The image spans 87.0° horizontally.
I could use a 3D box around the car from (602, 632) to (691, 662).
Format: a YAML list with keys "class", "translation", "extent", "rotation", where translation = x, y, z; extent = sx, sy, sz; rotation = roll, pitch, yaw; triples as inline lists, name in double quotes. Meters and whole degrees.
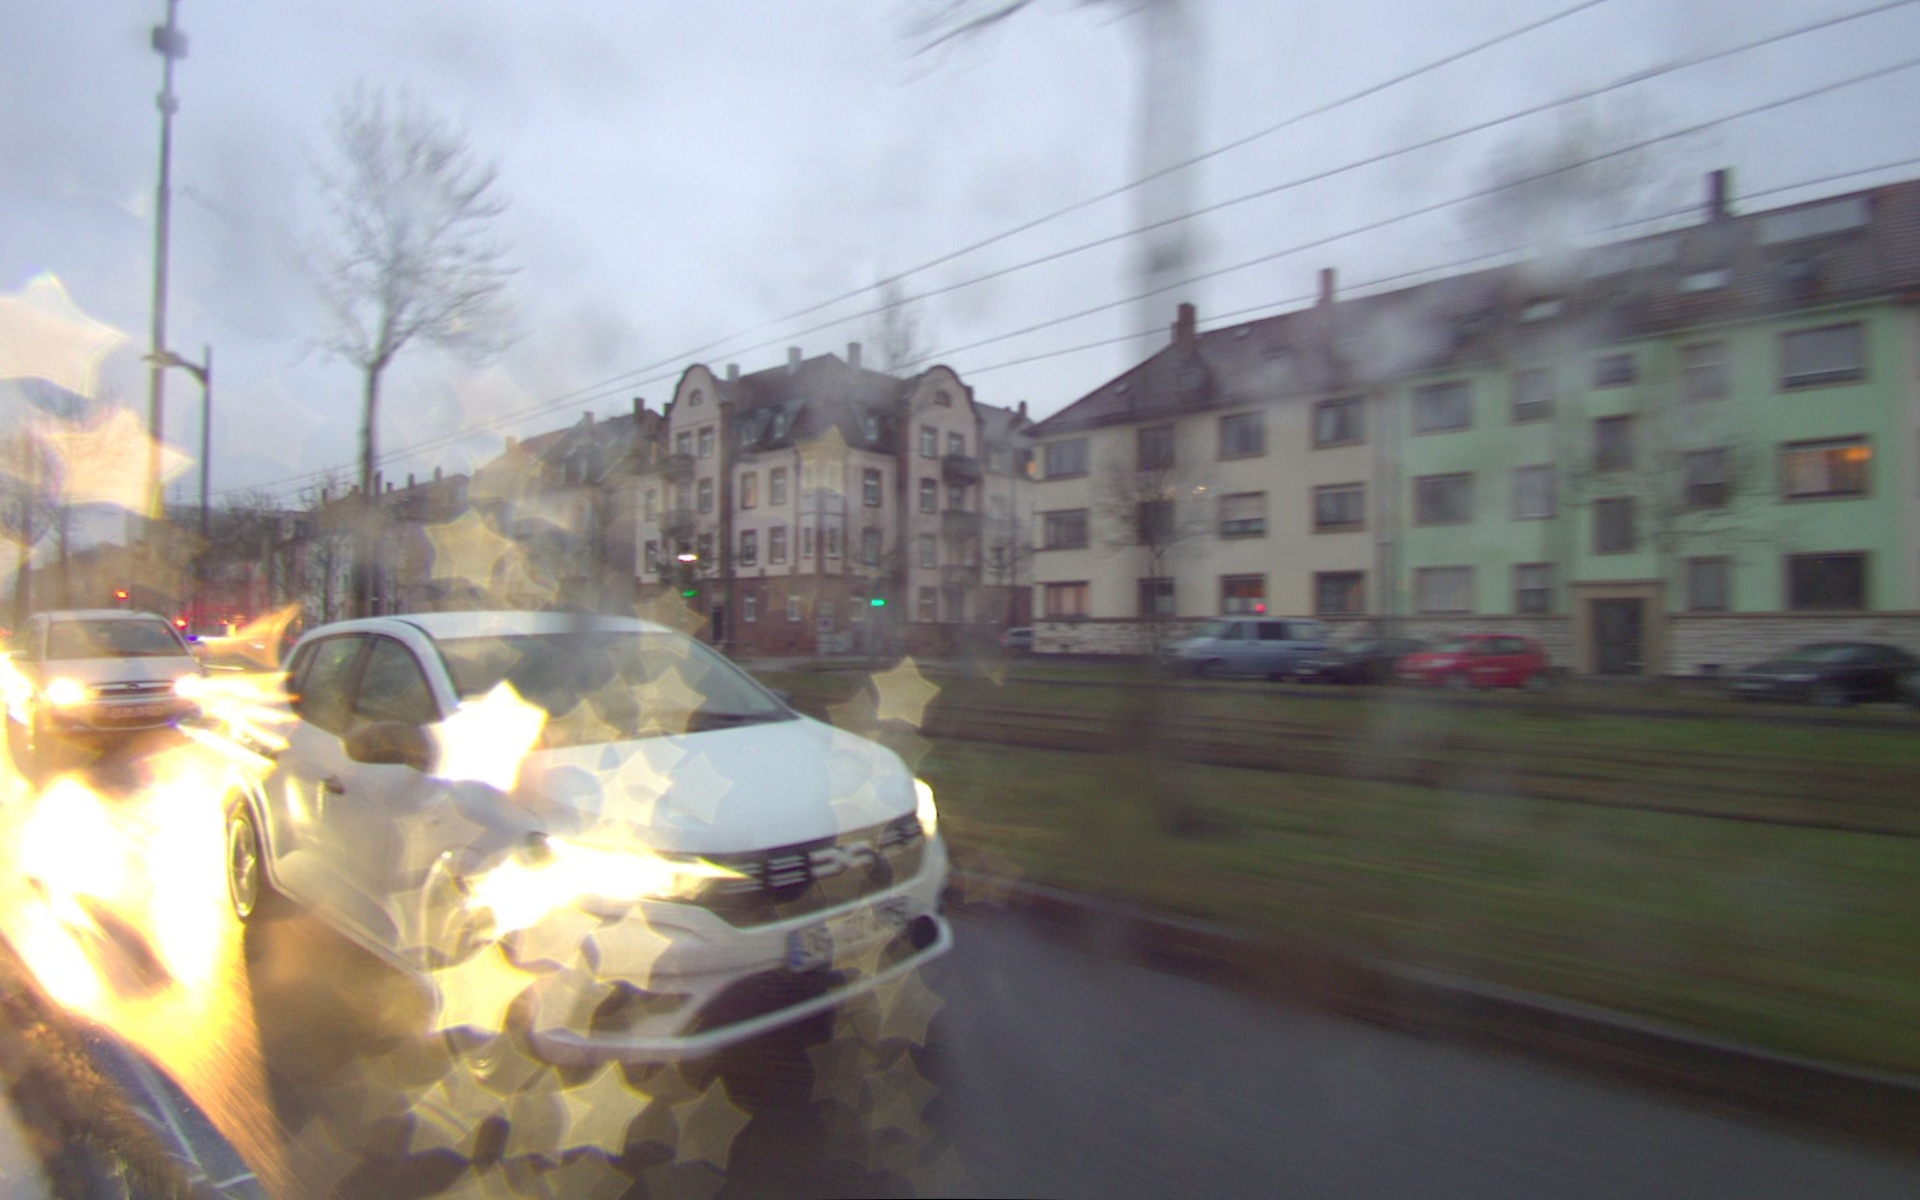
- class: "car"
  translation: [-15.626, 2.314, 50.600]
  extent: [4.039, 1.169, 1.716]
  rotation: [-3, 2, -10]

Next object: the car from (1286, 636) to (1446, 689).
- class: "car"
  translation: [10.560, 1.601, 26.394]
  extent: [3.511, 1.149, 1.742]
  rotation: [-1, 0, -16]

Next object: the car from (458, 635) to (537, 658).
- class: "car"
  translation: [-29.013, 2.890, 63.587]
  extent: [4.198, 1.267, 1.836]
  rotation: [-1, -1, -8]

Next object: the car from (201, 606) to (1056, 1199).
- class: "car"
  translation: [-1.713, 0.812, 4.341]
  extent: [3.999, 1.485, 1.671]
  rotation: [-2, -1, 41]

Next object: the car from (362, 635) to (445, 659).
- class: "car"
  translation: [-37.496, 3.149, 68.307]
  extent: [4.586, 1.443, 1.698]
  rotation: [-1, -1, -12]

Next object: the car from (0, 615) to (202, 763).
- class: "car"
  translation: [-10.874, 0.993, 12.627]
  extent: [3.908, 1.531, 1.616]
  rotation: [-2, -1, 43]

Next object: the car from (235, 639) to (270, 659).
- class: "car"
  translation: [-57.986, 4.029, 82.942]
  extent: [3.782, 1.516, 1.529]
  rotation: [-2, -1, 42]

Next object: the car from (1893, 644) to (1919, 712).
- class: "car"
  translation: [19.074, 1.352, 18.128]
  extent: [3.756, 1.181, 1.743]
  rotation: [-1, 0, -16]

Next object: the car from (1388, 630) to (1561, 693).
- class: "car"
  translation: [12.514, 1.458, 24.674]
  extent: [3.520, 1.319, 1.691]
  rotation: [-1, 0, -16]

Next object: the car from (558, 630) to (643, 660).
- class: "car"
  translation: [-18.602, 2.334, 52.441]
  extent: [3.978, 1.239, 1.352]
  rotation: [-3, 2, -12]

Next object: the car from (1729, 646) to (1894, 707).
- class: "car"
  translation: [17.133, 1.505, 20.396]
  extent: [2.351, 1.056, 1.441]
  rotation: [-1, -1, -16]

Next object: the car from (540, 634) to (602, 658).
- class: "car"
  translation: [-20.981, 2.472, 54.637]
  extent: [2.870, 0.997, 1.800]
  rotation: [-3, 2, -14]

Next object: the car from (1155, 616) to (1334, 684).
- class: "car"
  translation: [8.153, 1.384, 29.091]
  extent: [4.580, 1.736, 1.838]
  rotation: [-1, 0, -15]
